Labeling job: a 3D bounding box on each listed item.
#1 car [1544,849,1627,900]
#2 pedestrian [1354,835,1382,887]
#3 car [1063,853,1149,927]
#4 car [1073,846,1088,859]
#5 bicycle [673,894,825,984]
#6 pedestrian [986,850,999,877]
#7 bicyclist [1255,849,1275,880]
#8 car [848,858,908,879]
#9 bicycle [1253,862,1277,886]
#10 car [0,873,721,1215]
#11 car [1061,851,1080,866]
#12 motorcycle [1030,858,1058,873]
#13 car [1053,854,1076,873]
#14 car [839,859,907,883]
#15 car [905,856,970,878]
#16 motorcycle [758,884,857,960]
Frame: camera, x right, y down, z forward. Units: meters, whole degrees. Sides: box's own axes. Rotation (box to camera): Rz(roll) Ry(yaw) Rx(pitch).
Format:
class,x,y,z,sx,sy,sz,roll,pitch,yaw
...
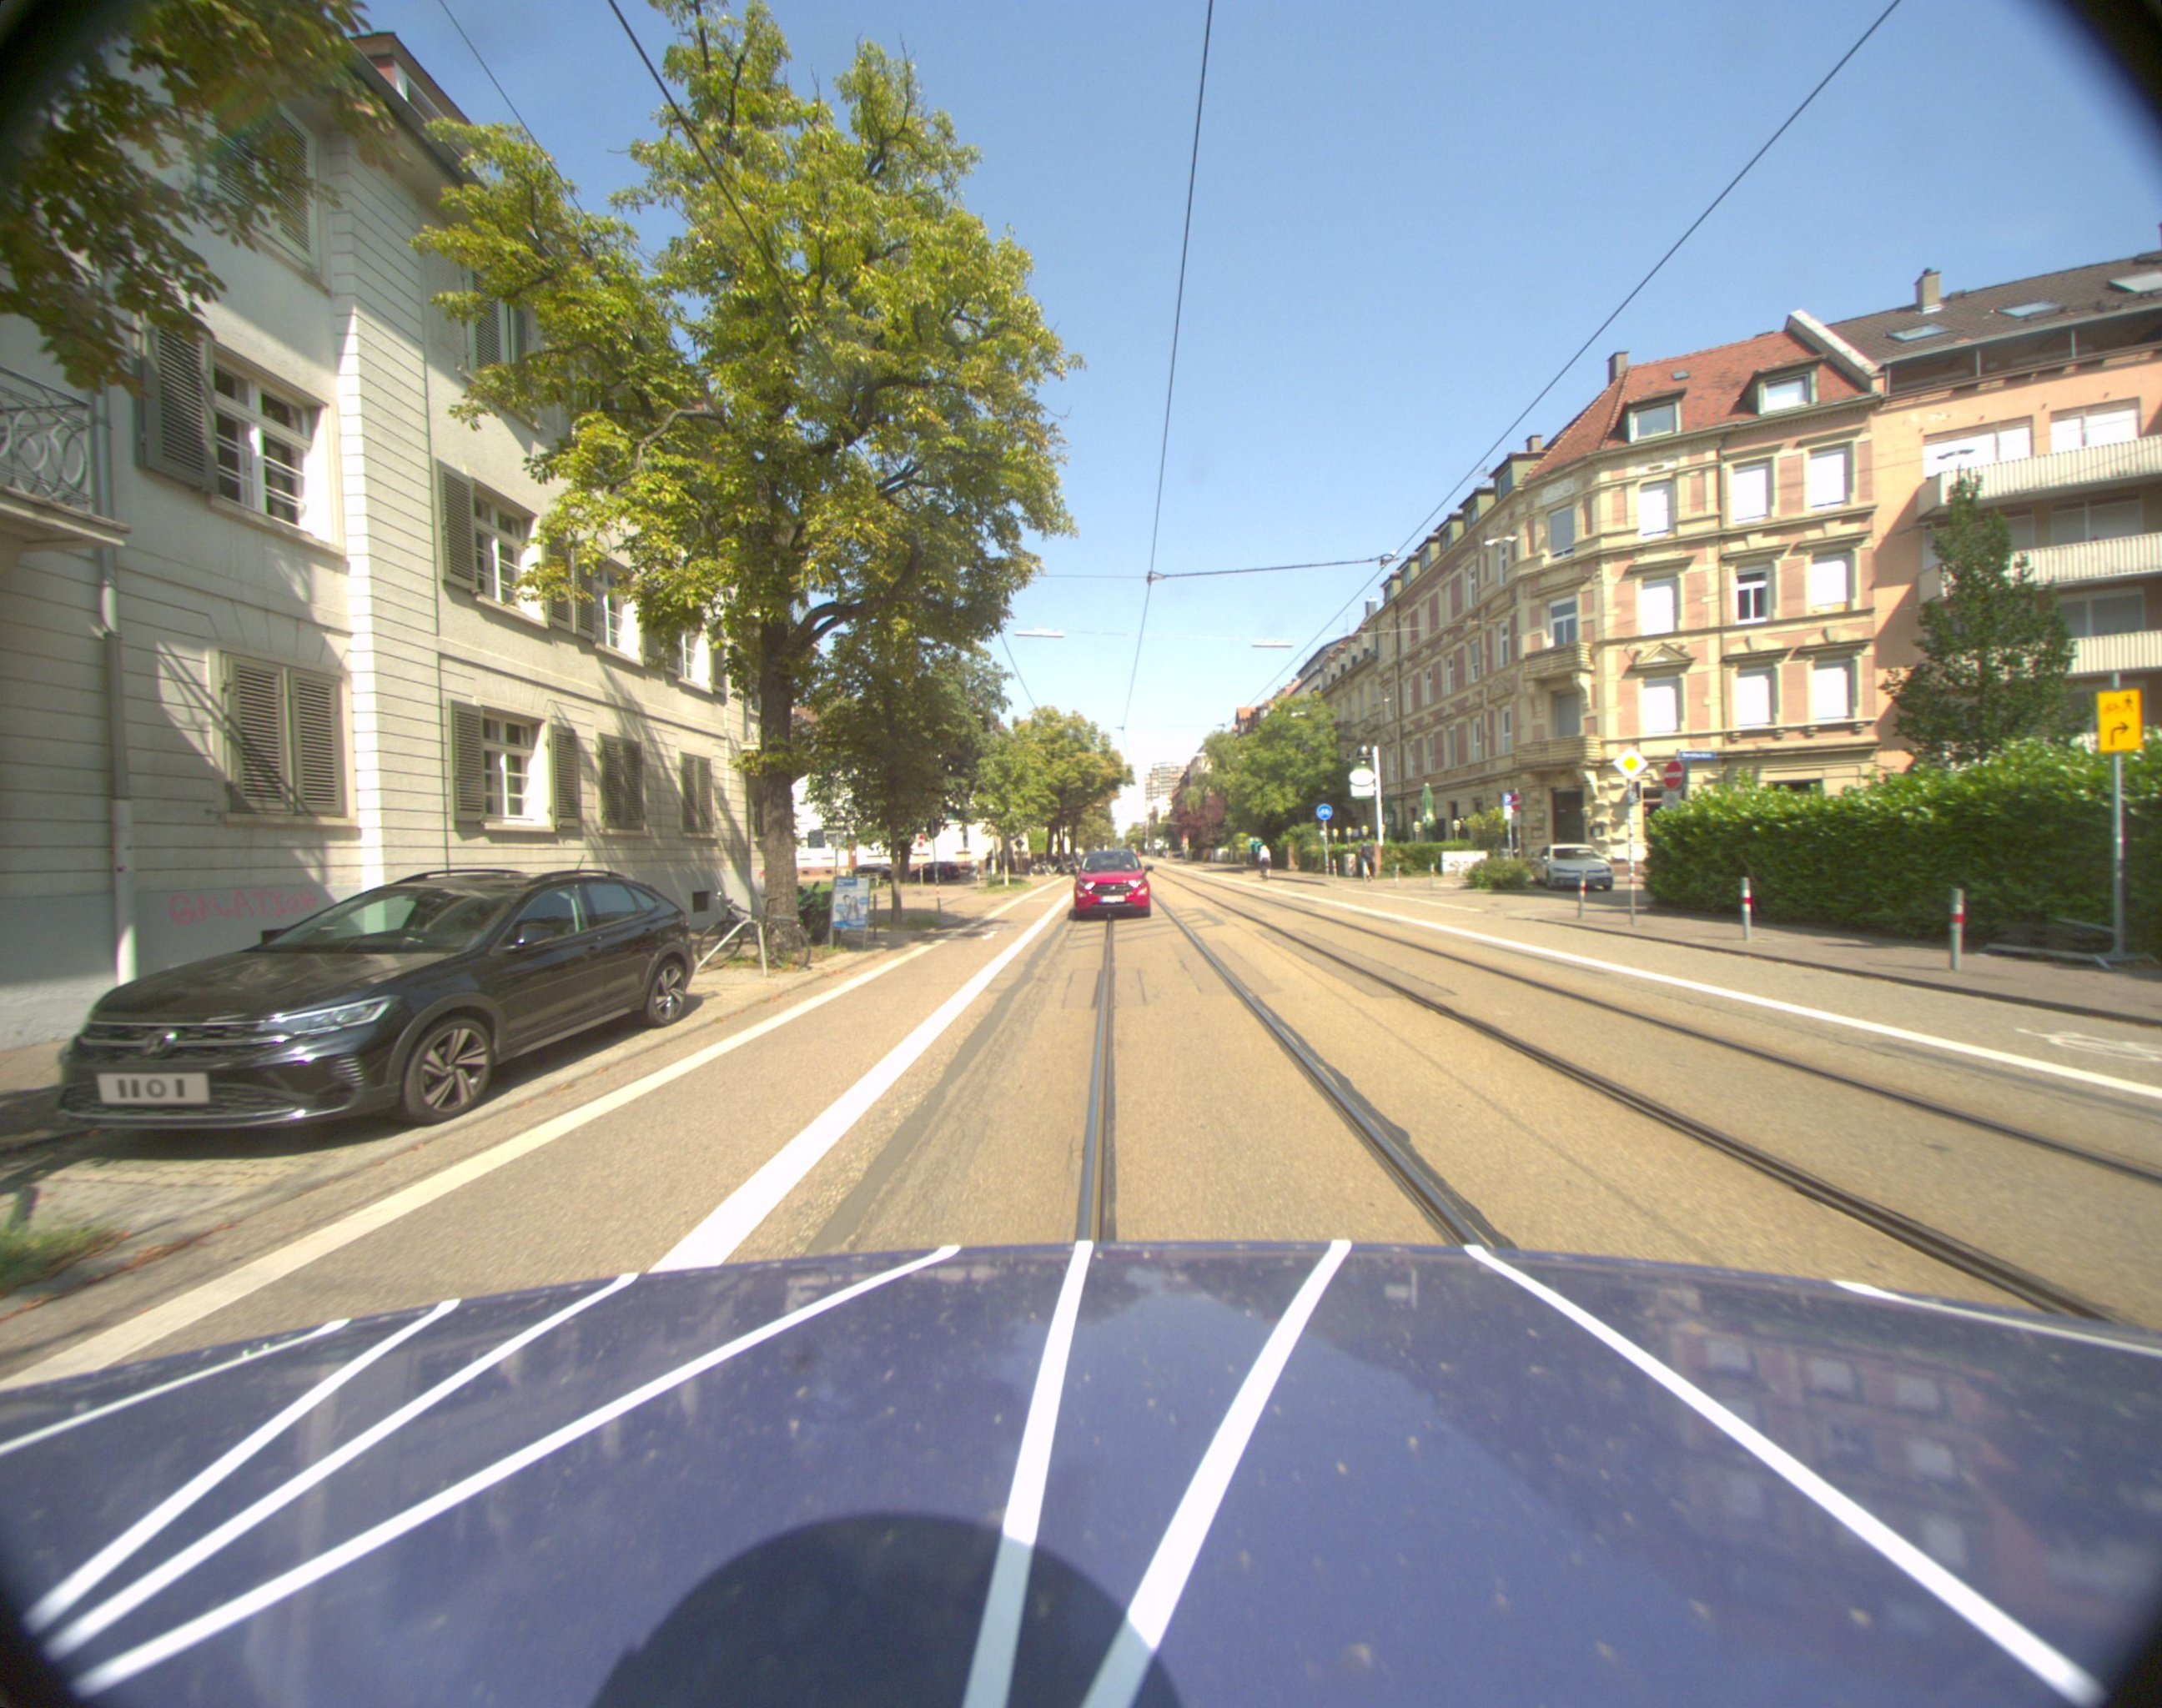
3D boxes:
class,x,y,z,sx,sy,sz,roll,pitch,yaw
car,16.475,0.622,24.985,1.995,1.480,4.152,-1,0,30
pedestrian,11.413,0.269,30.252,0.657,2.002,0.974,-1,1,-4
car,0.672,0.784,18.543,1.815,1.542,4.022,-2,0,4
car,-0.038,-0.153,90.125,1.598,1.489,4.053,-2,0,3
bicycle,-4.528,1.149,10.425,1.759,1.116,0.656,-2,1,2
pedestrian,-6.015,0.645,51.561,0.749,1.775,0.632,-2,1,3
bicyclist,8.658,0.493,35.771,0.657,1.420,0.974,-1,1,1
car,-14.942,1.042,55.920,3.989,1.430,1.979,-2,1,30
bicycle,8.675,0.928,35.897,0.642,1.070,1.915,-1,0,1
car,-4.696,0.987,5.915,1.667,1.498,4.434,-1,0,0
car,-1.086,0.473,79.244,1.598,1.489,4.053,-2,0,3
motorcycle,-2.703,0.829,55.700,1.999,1.009,0.796,-1,1,2
car,-1.362,0.751,64.531,1.598,1.489,4.053,-1,0,3
car,-13.337,1.065,48.629,3.989,1.422,1.841,-2,1,30
car,-10.019,0.927,53.163,3.990,1.435,1.978,-2,1,25
motorcycle,-4.894,1.178,13.817,0.829,1.105,2.497,-2,1,0
